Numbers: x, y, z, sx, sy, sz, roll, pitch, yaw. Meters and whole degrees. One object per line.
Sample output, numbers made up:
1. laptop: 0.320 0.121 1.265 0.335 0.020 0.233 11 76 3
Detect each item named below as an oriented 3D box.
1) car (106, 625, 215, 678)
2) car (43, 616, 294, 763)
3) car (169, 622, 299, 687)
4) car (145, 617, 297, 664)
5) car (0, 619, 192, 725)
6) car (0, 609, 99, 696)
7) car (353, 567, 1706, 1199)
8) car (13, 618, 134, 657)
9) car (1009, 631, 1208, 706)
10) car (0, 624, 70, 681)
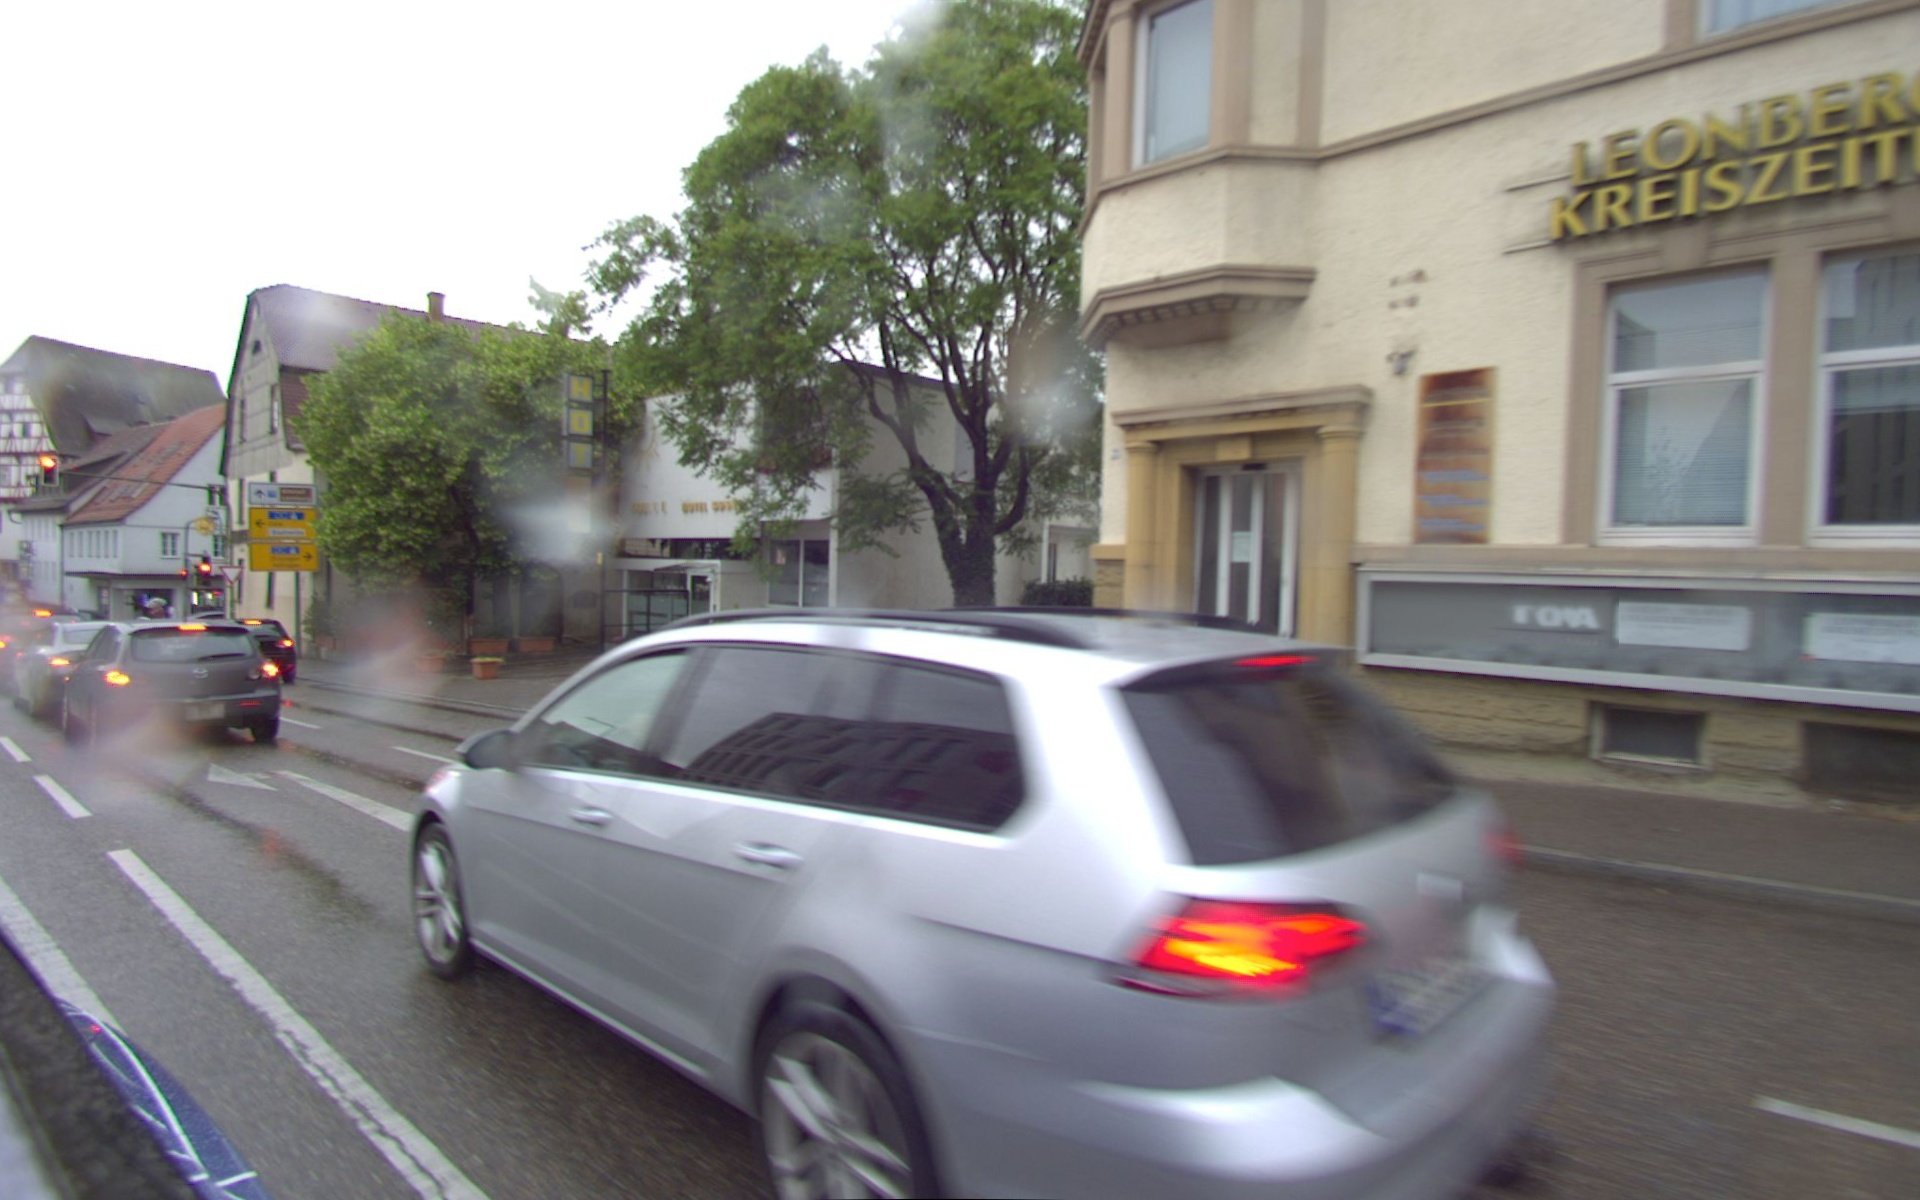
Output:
1. car: -21.890 1.343 27.655 4.033 1.303 1.828 -1 -1 44
2. car: -9.874 0.954 12.467 4.689 1.450 1.779 -1 -1 43
3. car: -17.109 1.225 23.779 4.059 1.364 1.718 -1 -1 43
4. car: -31.897 1.685 43.822 1.997 1.859 4.969 -1 -1 38
5. car: -14.286 1.066 16.554 5.016 1.451 1.920 -1 -1 43
6. car: -19.691 1.060 21.419 4.220 1.676 1.828 -1 -1 44
7. car: -0.460 0.724 3.518 1.778 1.450 4.692 0 -1 -45
8. car: -38.908 1.610 44.546 3.938 1.554 2.003 0 -1 -41
9. car: 3.072 1.357 20.558 3.935 1.380 1.790 3 -3 -38
10. car: -24.722 1.336 26.481 3.747 1.374 1.793 -1 -1 43
